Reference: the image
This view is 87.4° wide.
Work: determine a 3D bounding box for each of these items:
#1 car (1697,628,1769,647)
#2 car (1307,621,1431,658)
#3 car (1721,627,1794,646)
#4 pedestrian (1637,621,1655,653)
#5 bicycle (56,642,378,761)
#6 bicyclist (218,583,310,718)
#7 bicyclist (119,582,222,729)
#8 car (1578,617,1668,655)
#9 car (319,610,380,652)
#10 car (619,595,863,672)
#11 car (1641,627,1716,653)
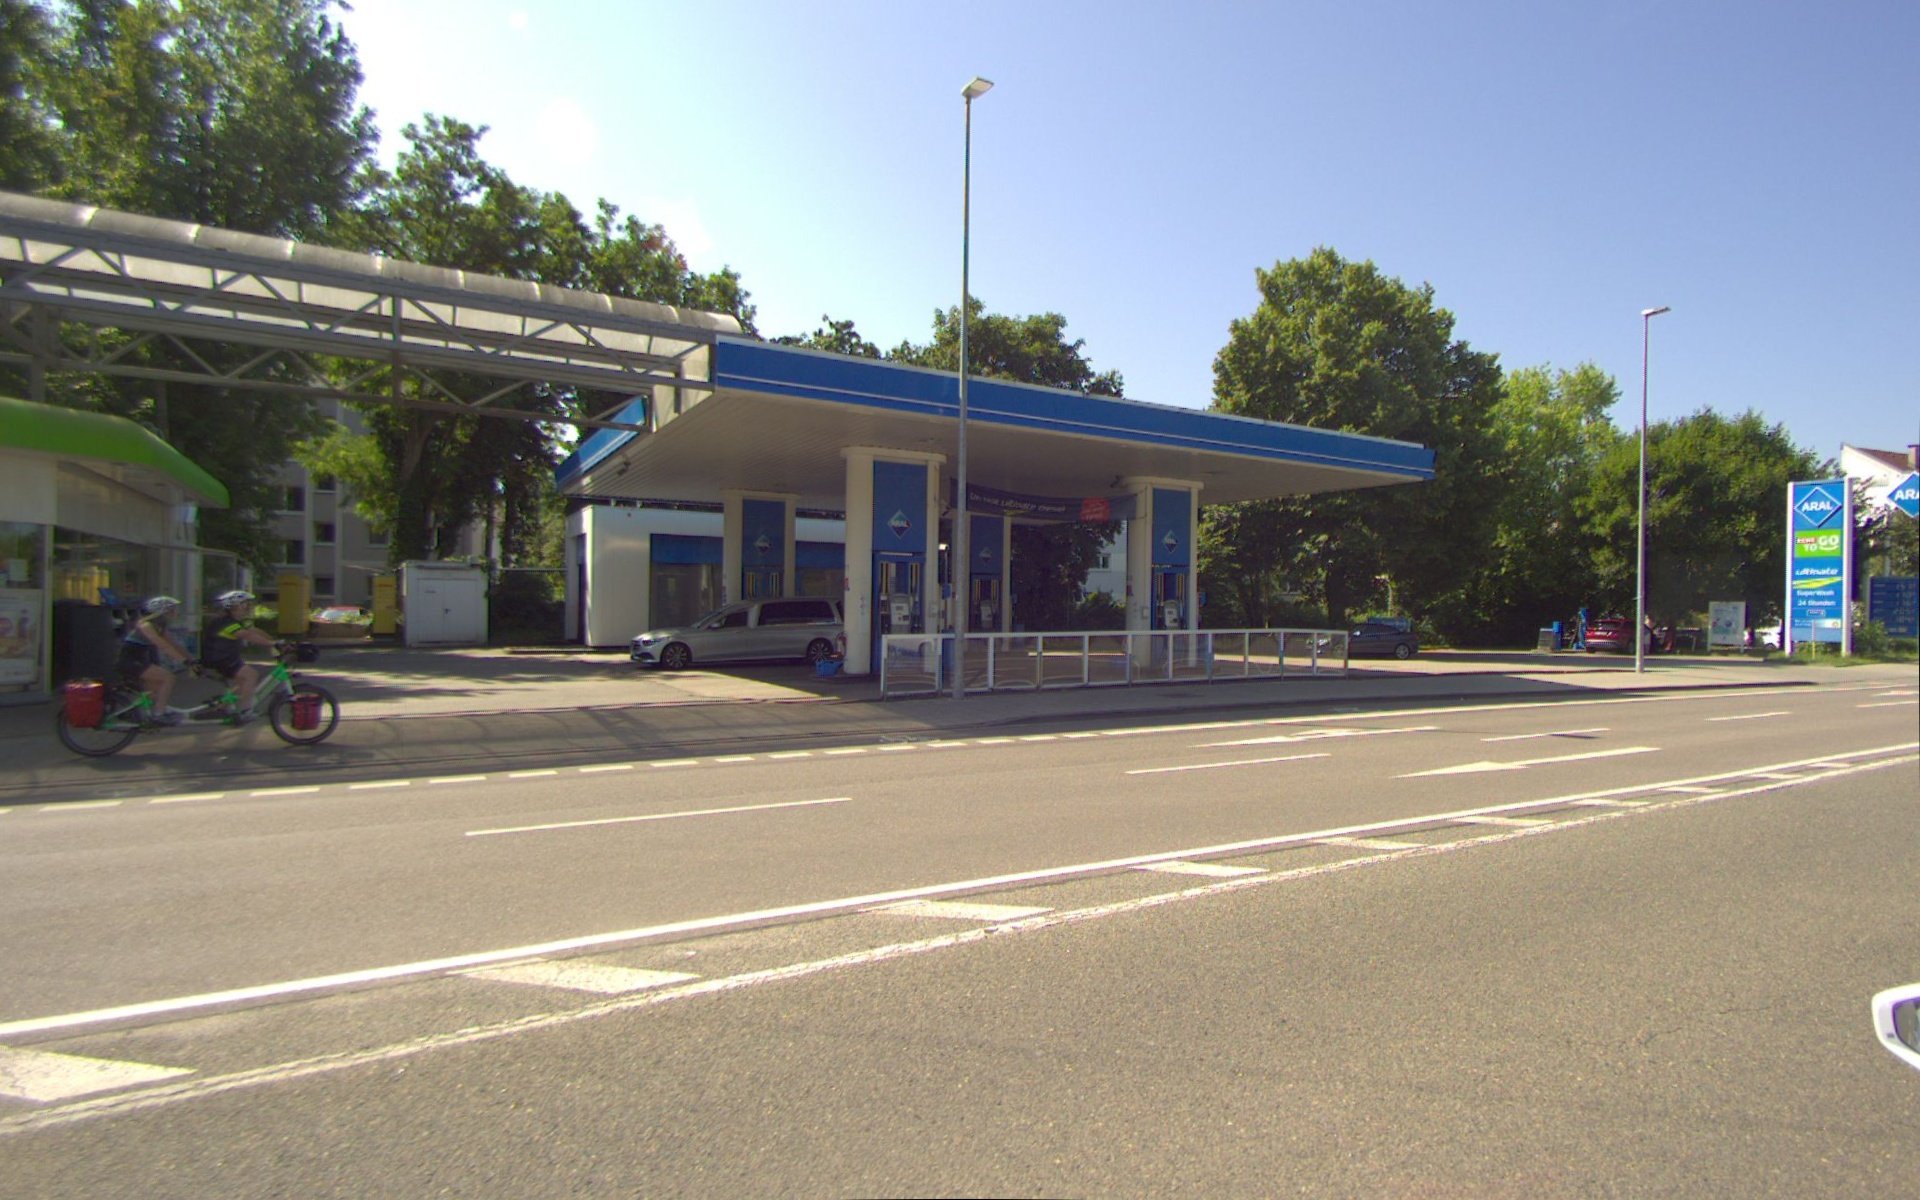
[{"bbox_3d":[52.316,2.517,68.036,1.551,1.221,3.646,1,-1,-19],"label":"car"},{"bbox_3d":[16.019,1.558,39.430,4.165,1.363,1.803,1,-1,-7],"label":"car"},{"bbox_3d":[54.517,2.495,68.711,1.551,1.221,3.646,1,-1,-19],"label":"car"},{"bbox_3d":[31.834,1.707,46.620,0.494,1.501,0.496,1,0,-30],"label":"pedestrian"},{"bbox_3d":[-8.022,1.054,11.055,2.743,1.109,0.820,1,2,-34],"label":"bicycle"},{"bbox_3d":[-7.857,0.539,11.337,0.825,1.455,0.841,0,1,-37],"label":"bicyclist"},{"bbox_3d":[-8.482,0.561,10.828,0.825,1.455,0.840,-1,6,-38],"label":"bicyclist"},{"bbox_3d":[31.041,1.647,47.034,4.465,1.591,1.790,-1,0,-31],"label":"car"},{"bbox_3d":[-22.681,1.124,37.411,1.724,1.355,3.660,-1,1,-28],"label":"car"},{"bbox_3d":[-5.562,0.825,25.949,5.898,1.805,1.834,1,-1,-32],"label":"car"},{"bbox_3d":[45.586,2.526,63.797,1.634,1.503,3.598,1,-1,-17],"label":"car"}]
